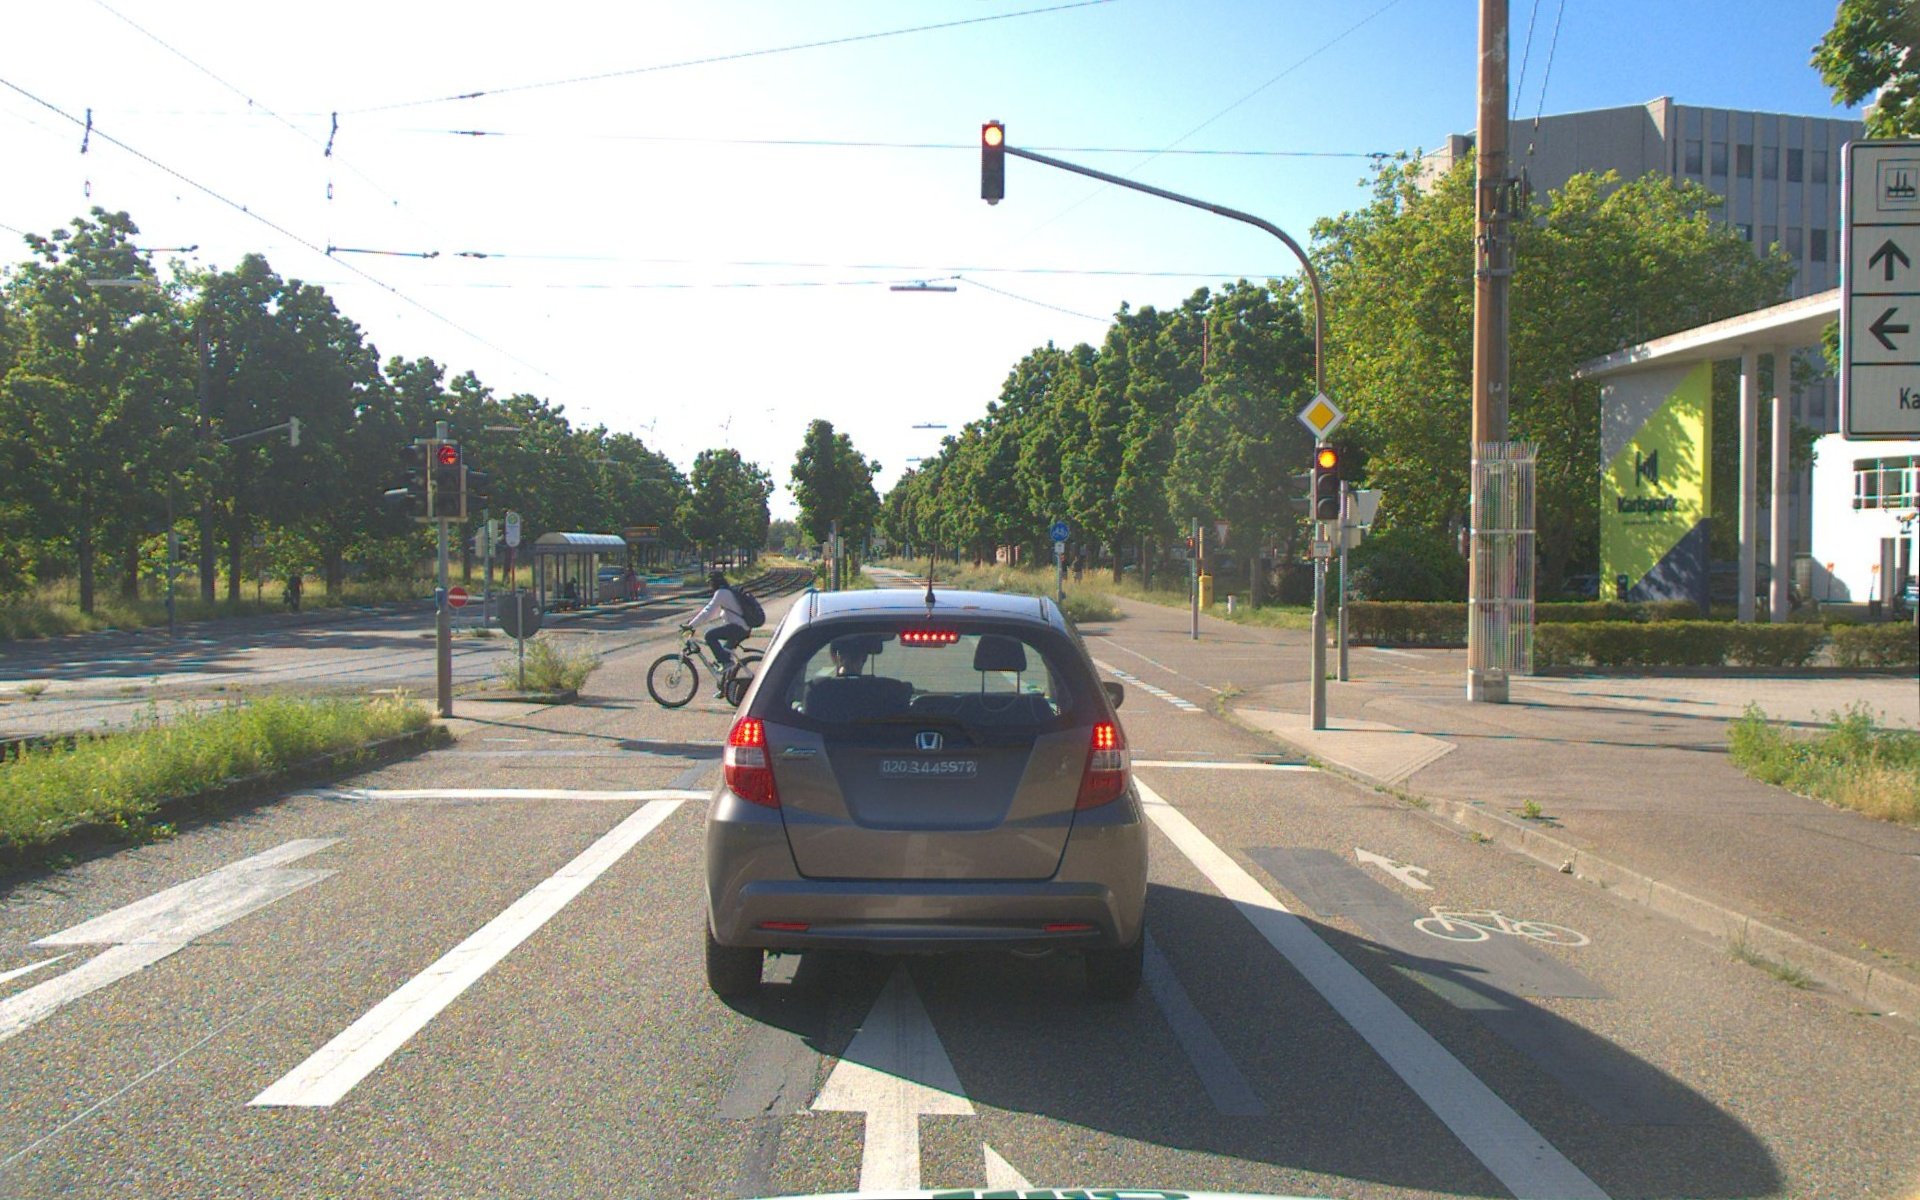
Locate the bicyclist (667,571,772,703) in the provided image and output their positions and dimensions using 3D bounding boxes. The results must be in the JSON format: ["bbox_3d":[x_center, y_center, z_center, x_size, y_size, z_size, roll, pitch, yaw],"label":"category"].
[{"bbox_3d":[-3.015,0.450,20.813,1.208,1.621,0.805,0,0,-2],"label":"bicyclist"}]

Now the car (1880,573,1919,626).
[{"bbox_3d":[30.631,-0.020,50.722,3.914,1.605,1.950,0,1,-10],"label":"car"}]

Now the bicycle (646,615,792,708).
[{"bbox_3d":[-3.018,0.769,20.846,1.739,1.121,0.698,0,0,-2],"label":"bicycle"}]

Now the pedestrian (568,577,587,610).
[{"bbox_3d":[-15.097,-0.262,65.284,0.552,1.279,0.580,-2,0,-2],"label":"pedestrian"}]

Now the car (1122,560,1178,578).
[{"bbox_3d":[16.629,-2.734,144.809,4.543,1.582,1.997,-1,1,-7],"label":"car"}]

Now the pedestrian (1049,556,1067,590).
[{"bbox_3d":[5.508,-1.525,92.782,0.865,1.917,0.875,0,1,-5],"label":"pedestrian"}]

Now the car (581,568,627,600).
[{"bbox_3d":[-22.620,-1.028,105.213,2.052,1.841,4.791,-2,2,-3],"label":"car"}]

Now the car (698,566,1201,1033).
[{"bbox_3d":[-0.058,0.664,7.387,1.666,1.550,3.709,1,0,-1],"label":"car"}]

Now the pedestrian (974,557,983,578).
[{"bbox_3d":[1.547,-2.735,140.213,0.710,1.720,0.820,0,-1,-3],"label":"pedestrian"}]

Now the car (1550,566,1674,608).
[{"bbox_3d":[26.633,-0.545,67.590,4.371,1.715,1.892,0,1,-7],"label":"car"}]

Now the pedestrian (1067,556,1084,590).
[{"bbox_3d":[6.490,-1.514,93.019,0.865,1.917,0.875,0,1,-5],"label":"pedestrian"}]

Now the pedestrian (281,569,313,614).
[{"bbox_3d":[-26.612,-0.345,66.394,0.744,1.764,0.936,0,1,27],"label":"pedestrian"}]

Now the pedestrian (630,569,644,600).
[{"bbox_3d":[-15.588,-0.762,79.838,0.533,1.473,0.559,-1,0,-1],"label":"pedestrian"}]

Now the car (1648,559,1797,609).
[{"bbox_3d":[27.999,-0.612,60.749,4.803,1.787,2.083,0,1,-16],"label":"car"}]
